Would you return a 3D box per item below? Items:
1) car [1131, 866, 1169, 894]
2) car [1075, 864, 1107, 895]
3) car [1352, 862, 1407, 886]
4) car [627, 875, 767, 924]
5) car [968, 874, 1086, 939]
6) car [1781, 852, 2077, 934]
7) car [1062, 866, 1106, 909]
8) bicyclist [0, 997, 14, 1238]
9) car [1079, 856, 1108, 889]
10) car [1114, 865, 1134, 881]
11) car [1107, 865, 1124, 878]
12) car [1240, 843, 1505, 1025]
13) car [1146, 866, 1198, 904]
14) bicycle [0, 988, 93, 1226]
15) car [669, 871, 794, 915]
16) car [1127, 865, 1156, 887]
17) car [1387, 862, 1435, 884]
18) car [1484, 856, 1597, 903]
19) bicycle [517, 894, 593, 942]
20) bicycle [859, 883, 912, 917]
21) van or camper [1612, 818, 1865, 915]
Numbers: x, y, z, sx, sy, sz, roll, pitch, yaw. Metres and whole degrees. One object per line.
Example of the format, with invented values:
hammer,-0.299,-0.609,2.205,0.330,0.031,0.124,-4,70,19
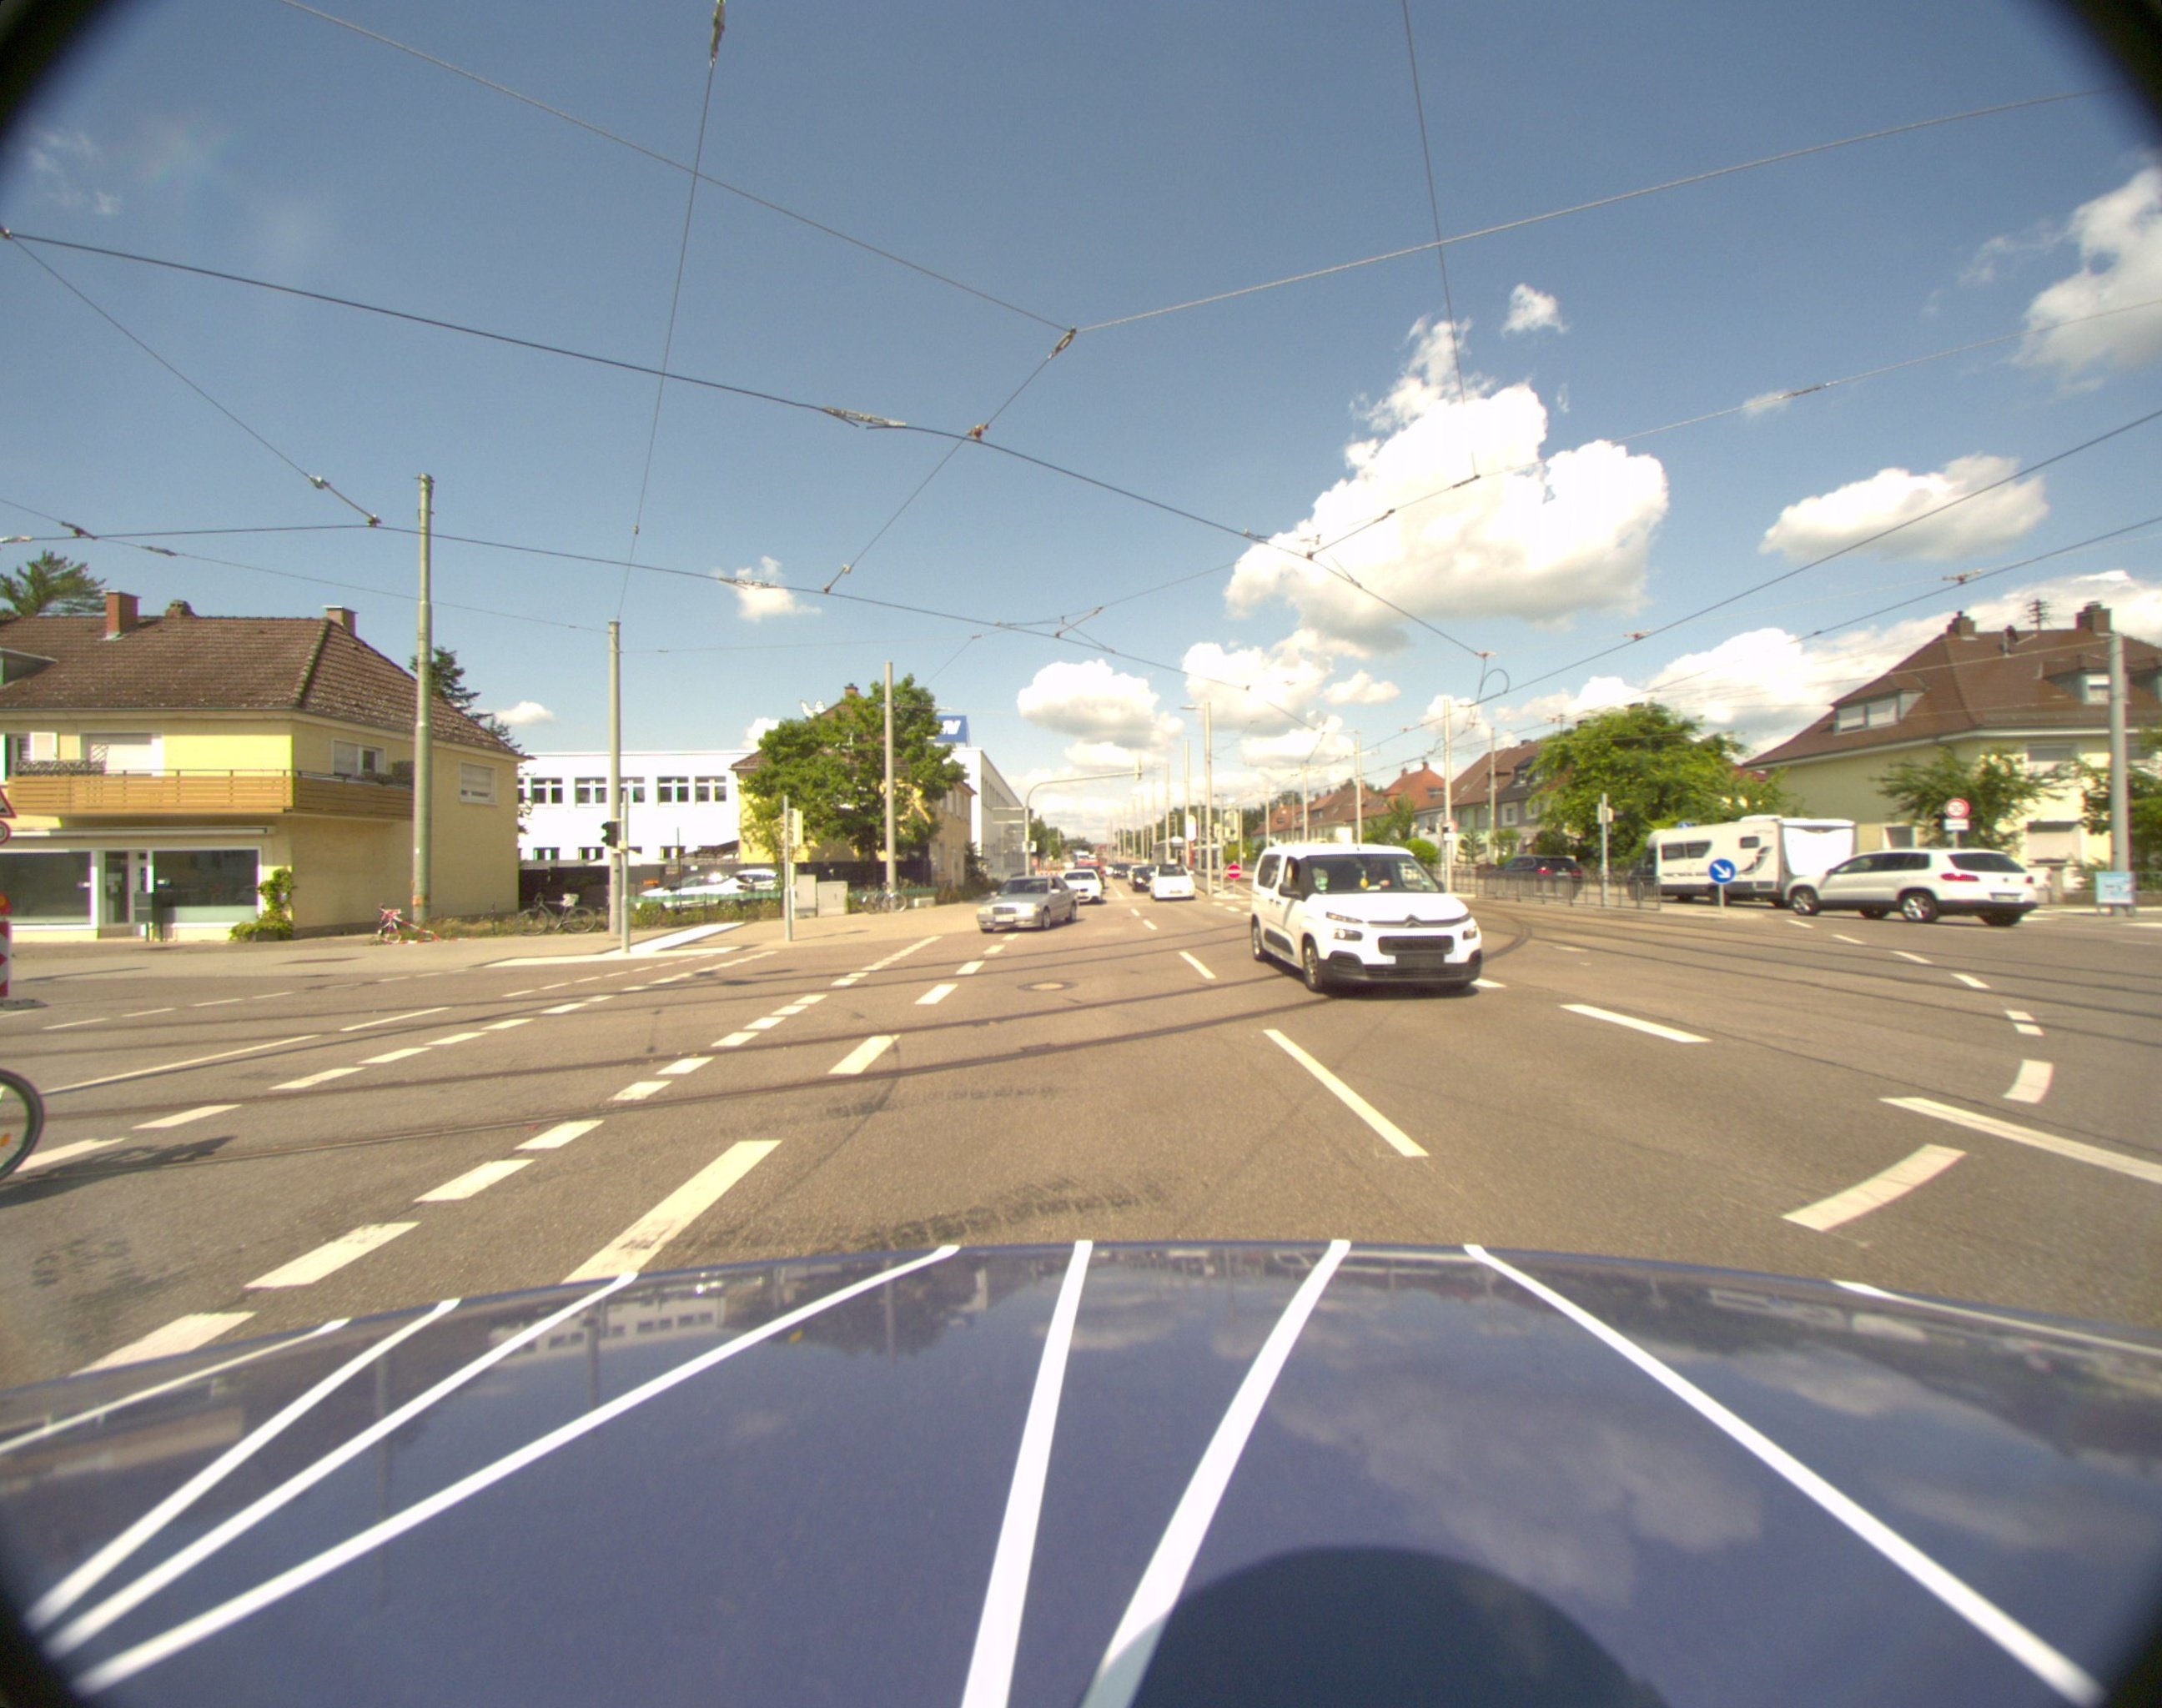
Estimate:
car,3.915,1.444,43.527,1.680,1.413,3.558,-2,0,-2
car,0.529,1.395,43.130,1.664,1.529,3.999,-2,0,-1
car,19.619,1.292,50.093,1.998,1.344,4.178,-2,0,2
car,-13.831,1.599,27.550,4.118,1.587,1.800,-1,-1,-5
car,-1.301,1.332,20.452,1.606,1.389,4.468,-2,0,17
car,18.757,0.774,17.174,1.998,1.543,4.178,2,0,2
car,0.101,1.372,32.117,1.664,1.564,3.999,-2,0,-1
bicyclist,-5.625,1.035,3.250,0.652,1.727,0.984,-2,1,-6
car,0.788,1.220,52.435,1.787,2.134,5.169,-2,0,-1
car,4.307,1.904,76.555,1.698,1.350,4.498,-2,0,-1
car,4.022,2.028,89.358,1.698,1.350,4.498,-2,0,-1
car,3.456,0.837,9.988,1.799,1.804,4.330,-2,0,1
car,3.874,1.296,32.842,1.680,1.495,3.393,-2,0,-2
bicycle,-5.623,1.290,3.286,0.652,1.111,1.587,-2,0,-6
car,-13.835,1.516,30.272,4.118,1.587,1.800,-1,-1,-5
car,4.405,1.588,55.893,1.698,1.350,4.498,-2,0,-1
car,23.114,1.320,53.330,1.688,1.344,4.346,-2,0,4
car,18.944,0.998,31.645,1.998,1.766,4.880,1,0,4
bicycle,-13.959,1.691,20.208,1.576,1.131,0.380,-2,1,-27
bicycle,-6.745,1.576,26.279,0.462,1.012,1.759,-2,1,41
van or camper,22.569,0.349,26.821,2.329,2.913,7.754,0,0,2
